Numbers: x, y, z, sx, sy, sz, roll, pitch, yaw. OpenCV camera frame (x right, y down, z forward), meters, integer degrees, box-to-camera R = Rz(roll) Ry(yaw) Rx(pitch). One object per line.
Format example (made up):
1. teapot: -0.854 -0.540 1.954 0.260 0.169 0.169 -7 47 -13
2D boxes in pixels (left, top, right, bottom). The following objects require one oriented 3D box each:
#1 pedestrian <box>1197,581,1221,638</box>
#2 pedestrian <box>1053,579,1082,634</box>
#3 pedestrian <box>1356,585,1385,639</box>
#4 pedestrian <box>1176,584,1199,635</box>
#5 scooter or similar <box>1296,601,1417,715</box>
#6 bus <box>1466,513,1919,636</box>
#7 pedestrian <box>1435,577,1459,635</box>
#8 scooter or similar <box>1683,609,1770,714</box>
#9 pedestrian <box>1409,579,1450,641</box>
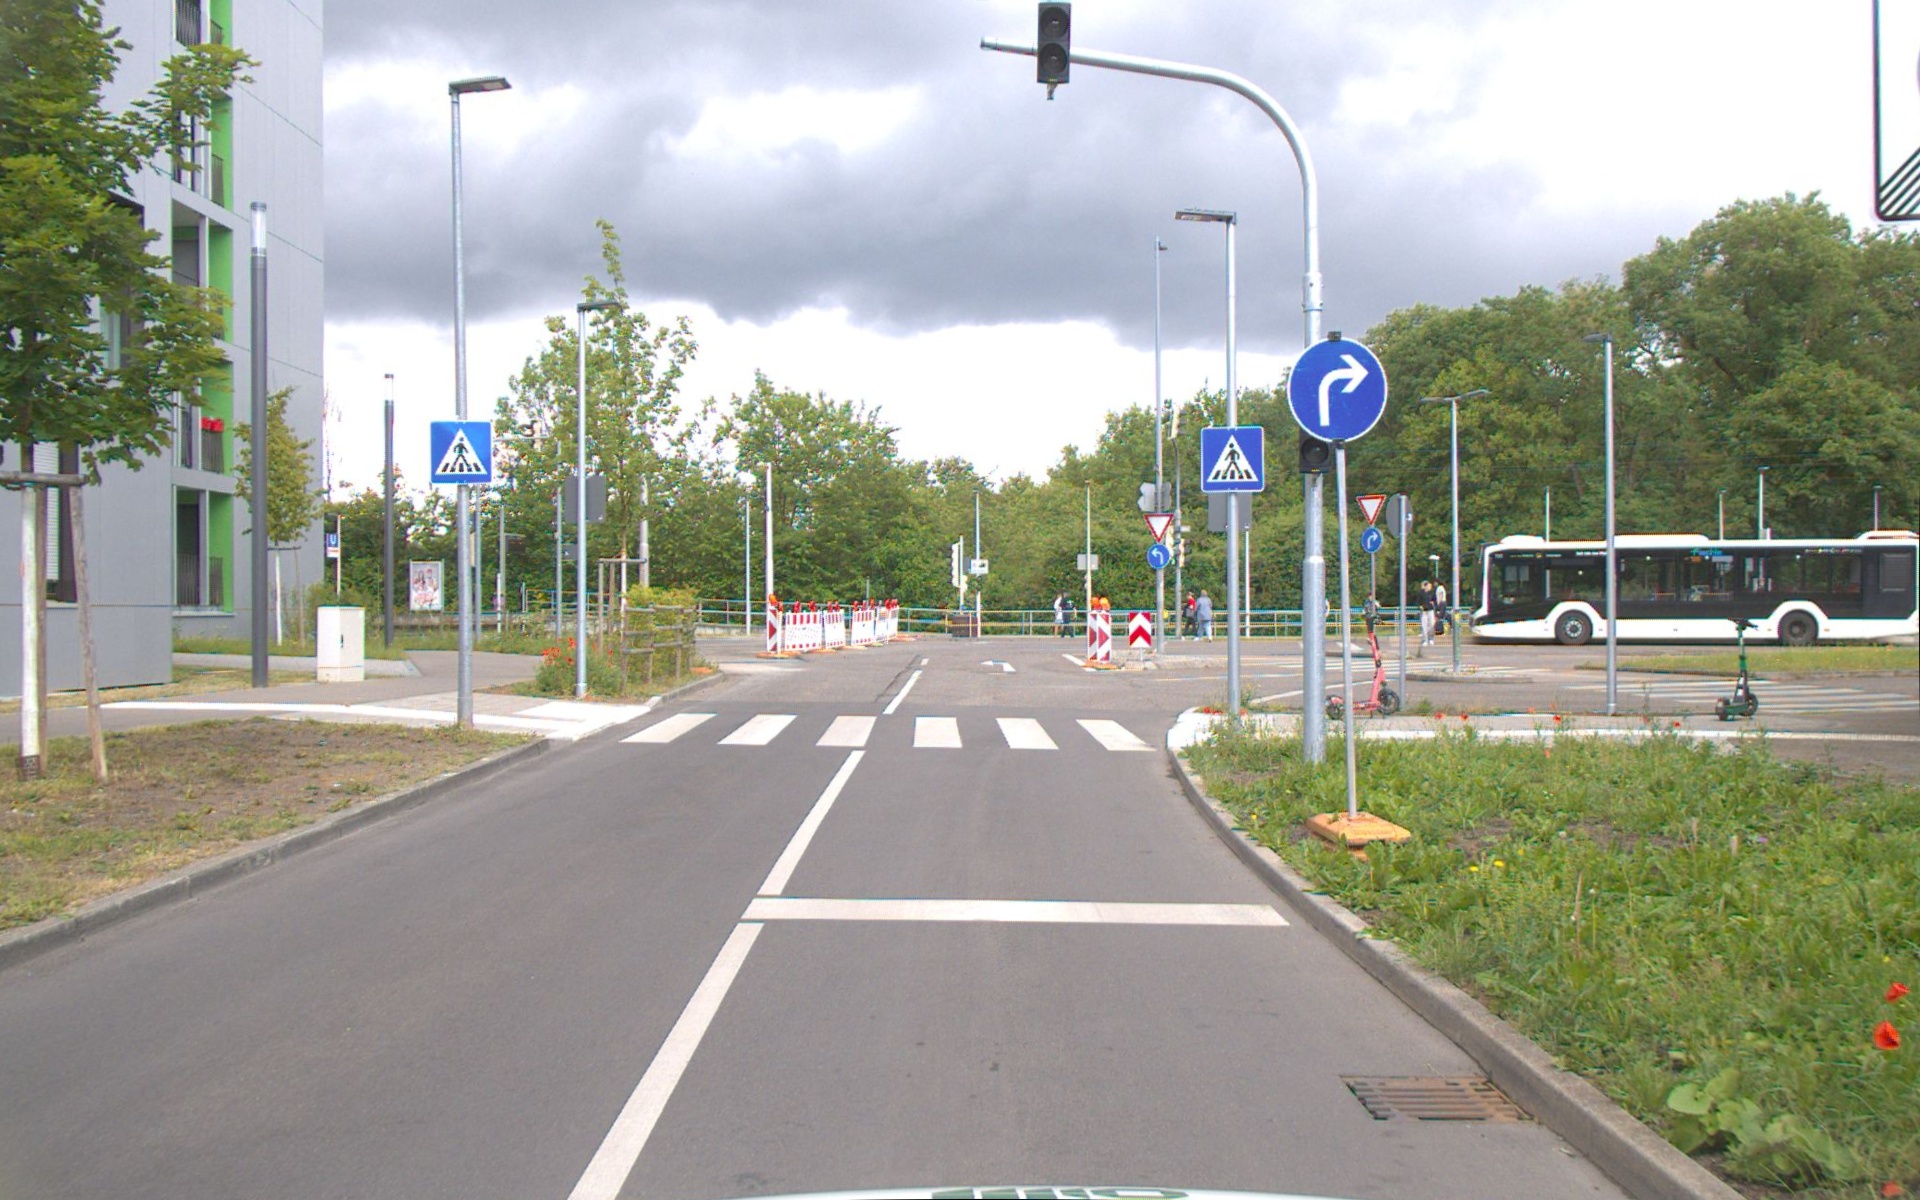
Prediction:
1. pedestrian: 7.731 0.290 51.322 0.705 1.778 0.958 0 0 11
2. pedestrian: 3.526 0.215 54.400 0.934 1.778 0.723 0 0 4
3. pedestrian: 12.280 0.347 49.431 0.677 1.594 0.731 0 0 30
4. pedestrian: 7.399 0.317 53.811 0.705 1.649 0.806 0 0 11
5. scooter or similar: 4.844 0.683 20.172 1.507 1.336 0.566 0 0 -34
6. bus: 20.824 -0.665 47.299 11.899 3.259 2.677 -1 0 12
7. pedestrian: 15.140 0.169 51.370 0.705 1.778 0.958 0 0 17
8. scooter or similar: 9.903 0.780 21.356 0.611 1.297 1.486 0 -1 42
9. pedestrian: 13.642 0.272 48.075 0.936 1.777 1.060 0 0 30
